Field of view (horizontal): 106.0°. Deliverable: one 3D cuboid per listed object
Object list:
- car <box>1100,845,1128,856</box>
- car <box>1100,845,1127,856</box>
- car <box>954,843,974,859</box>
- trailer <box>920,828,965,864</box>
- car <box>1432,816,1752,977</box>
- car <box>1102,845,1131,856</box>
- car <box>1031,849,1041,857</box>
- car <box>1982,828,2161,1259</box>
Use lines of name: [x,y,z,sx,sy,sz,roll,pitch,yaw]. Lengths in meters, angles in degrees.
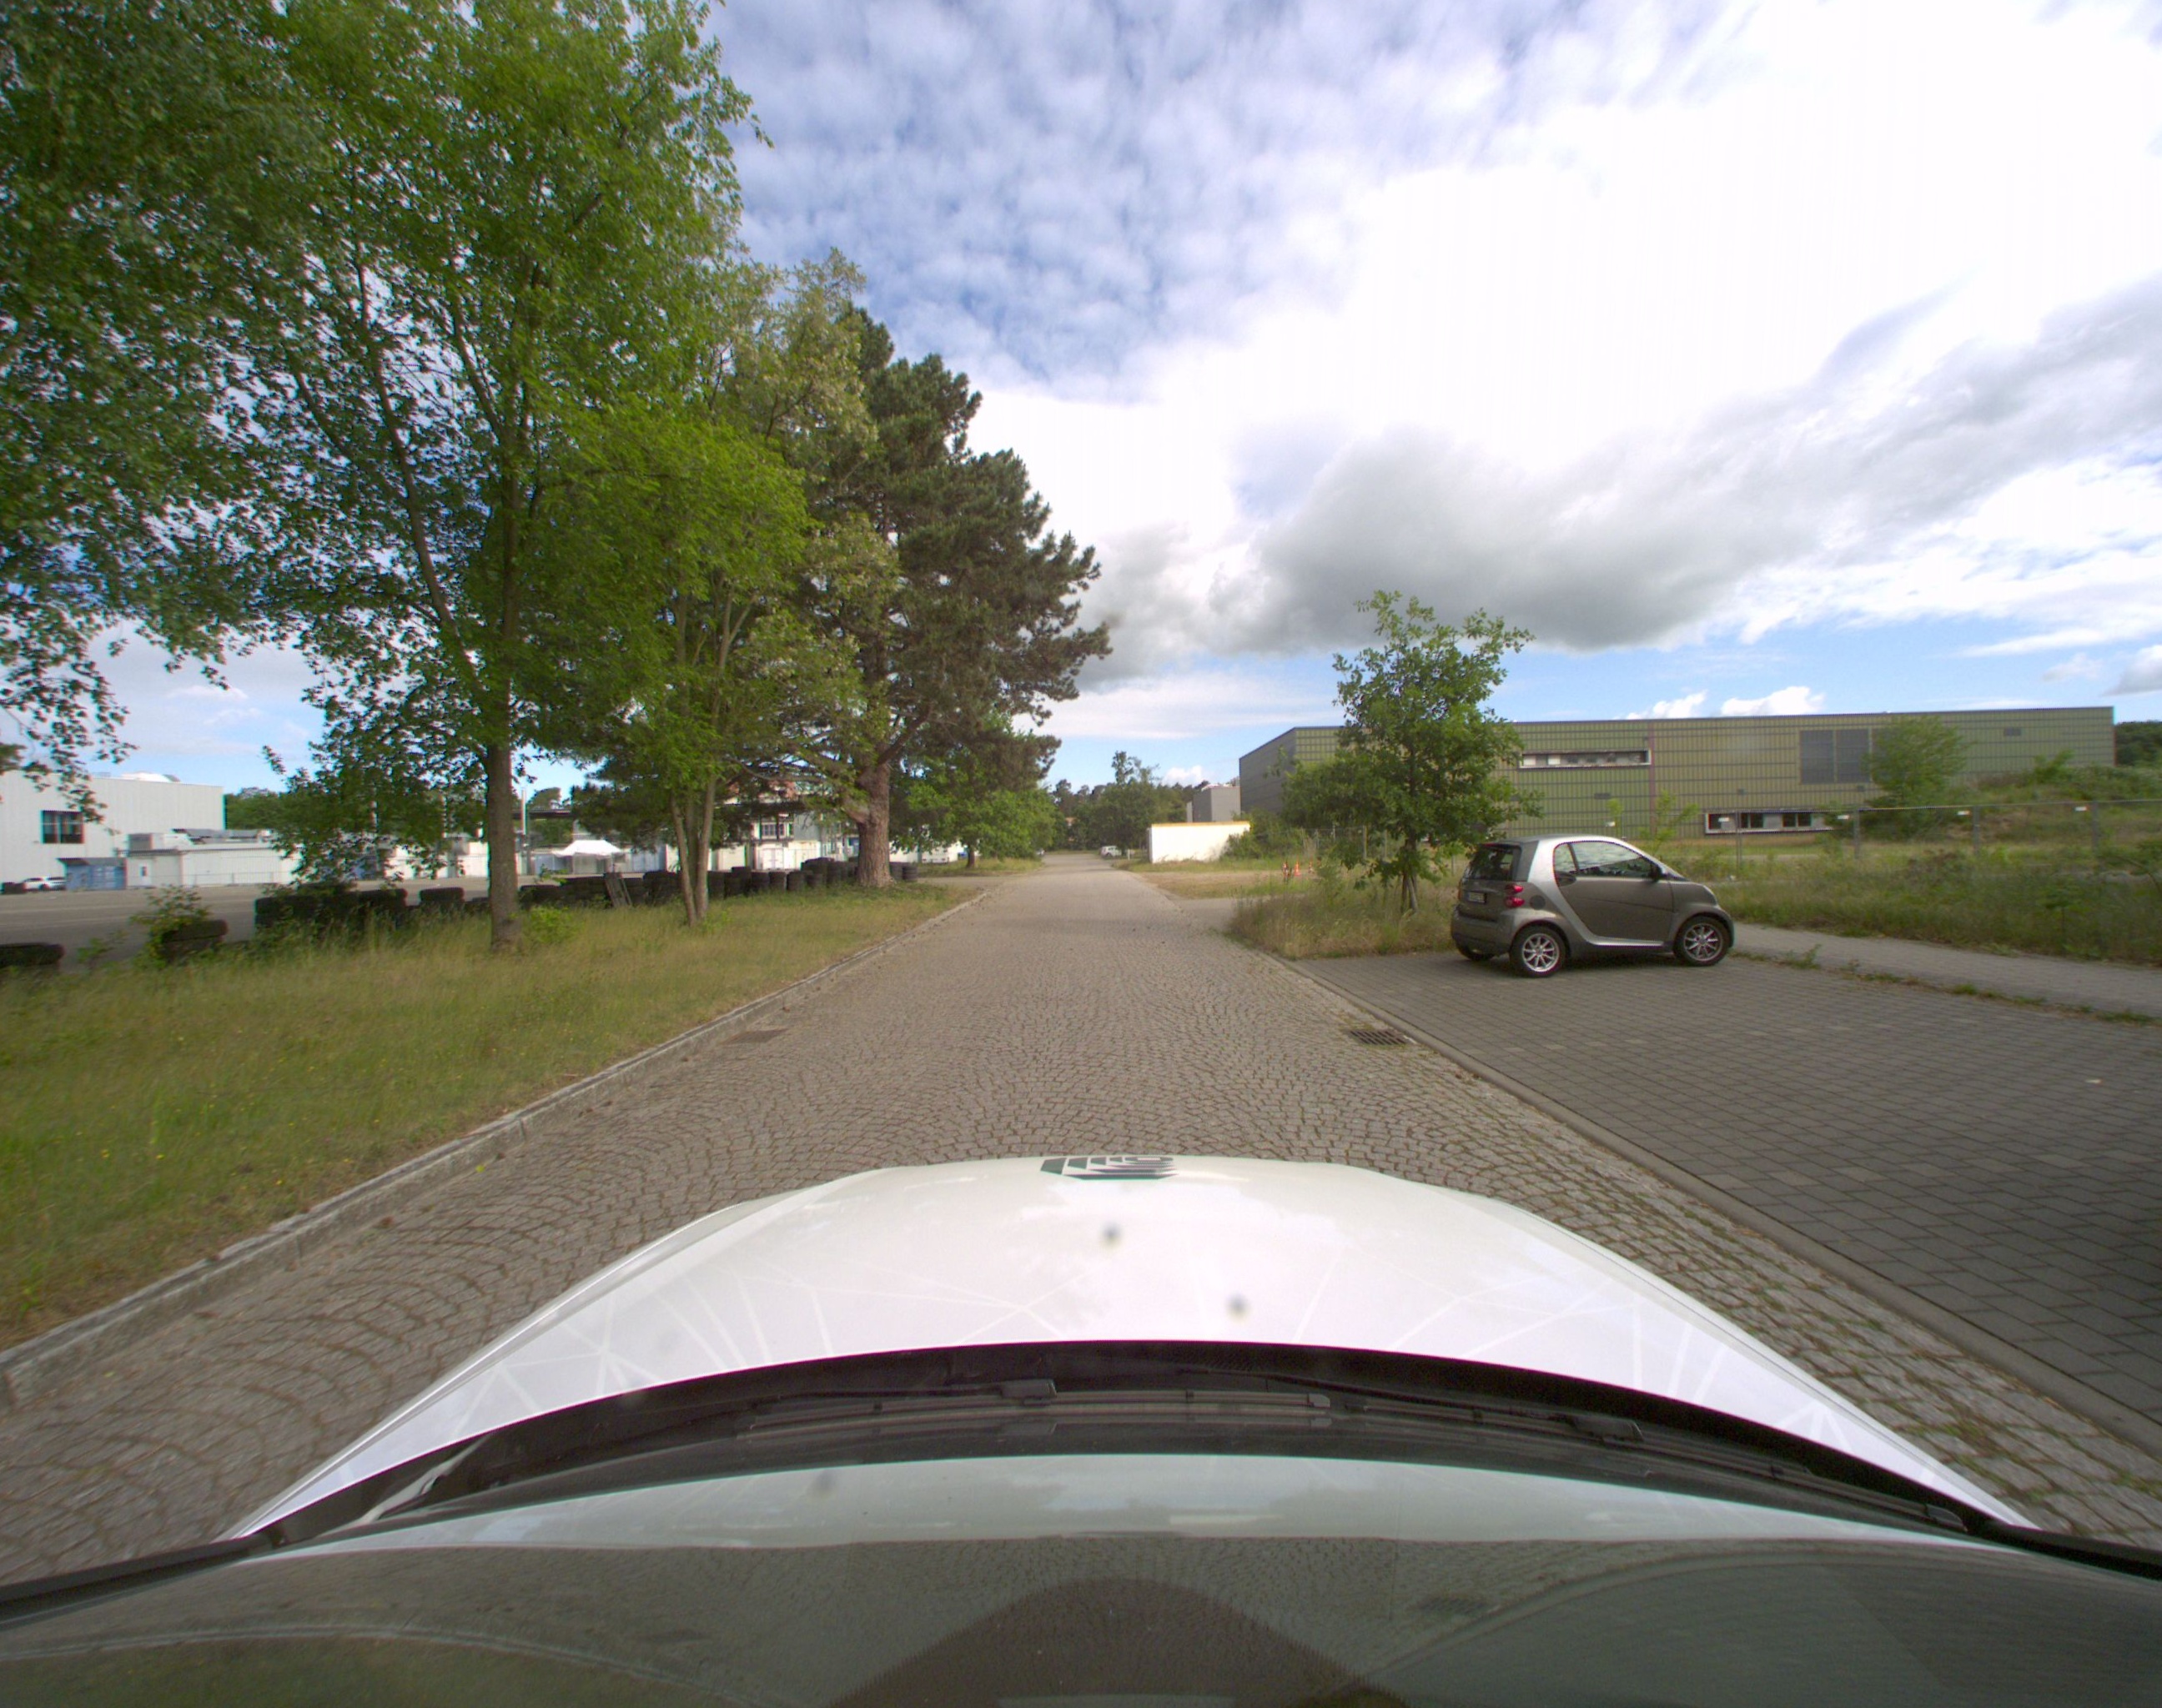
car: [4.764,-0.539,119.190,3.974,1.455,1.697,-2,0,-1]
car: [4.808,-0.559,122.230,3.974,1.455,1.769,-2,0,-1]
car: [-18.566,-0.496,129.027,1.985,2.523,5.622,-2,0,3]
trailer: [-15.042,-0.874,89.529,2.646,3.705,10.727,-2,0,2]
car: [5.969,0.456,9.774,2.733,1.582,1.682,-4,0,-1]
car: [5.070,-0.467,117.026,3.974,1.455,2.000,-1,0,-1]
car: [-7.740,-0.136,140.791,1.745,1.364,3.996,-2,0,-3]
car: [5.950,0.530,2.429,4.514,1.450,1.930,-4,1,-3]
